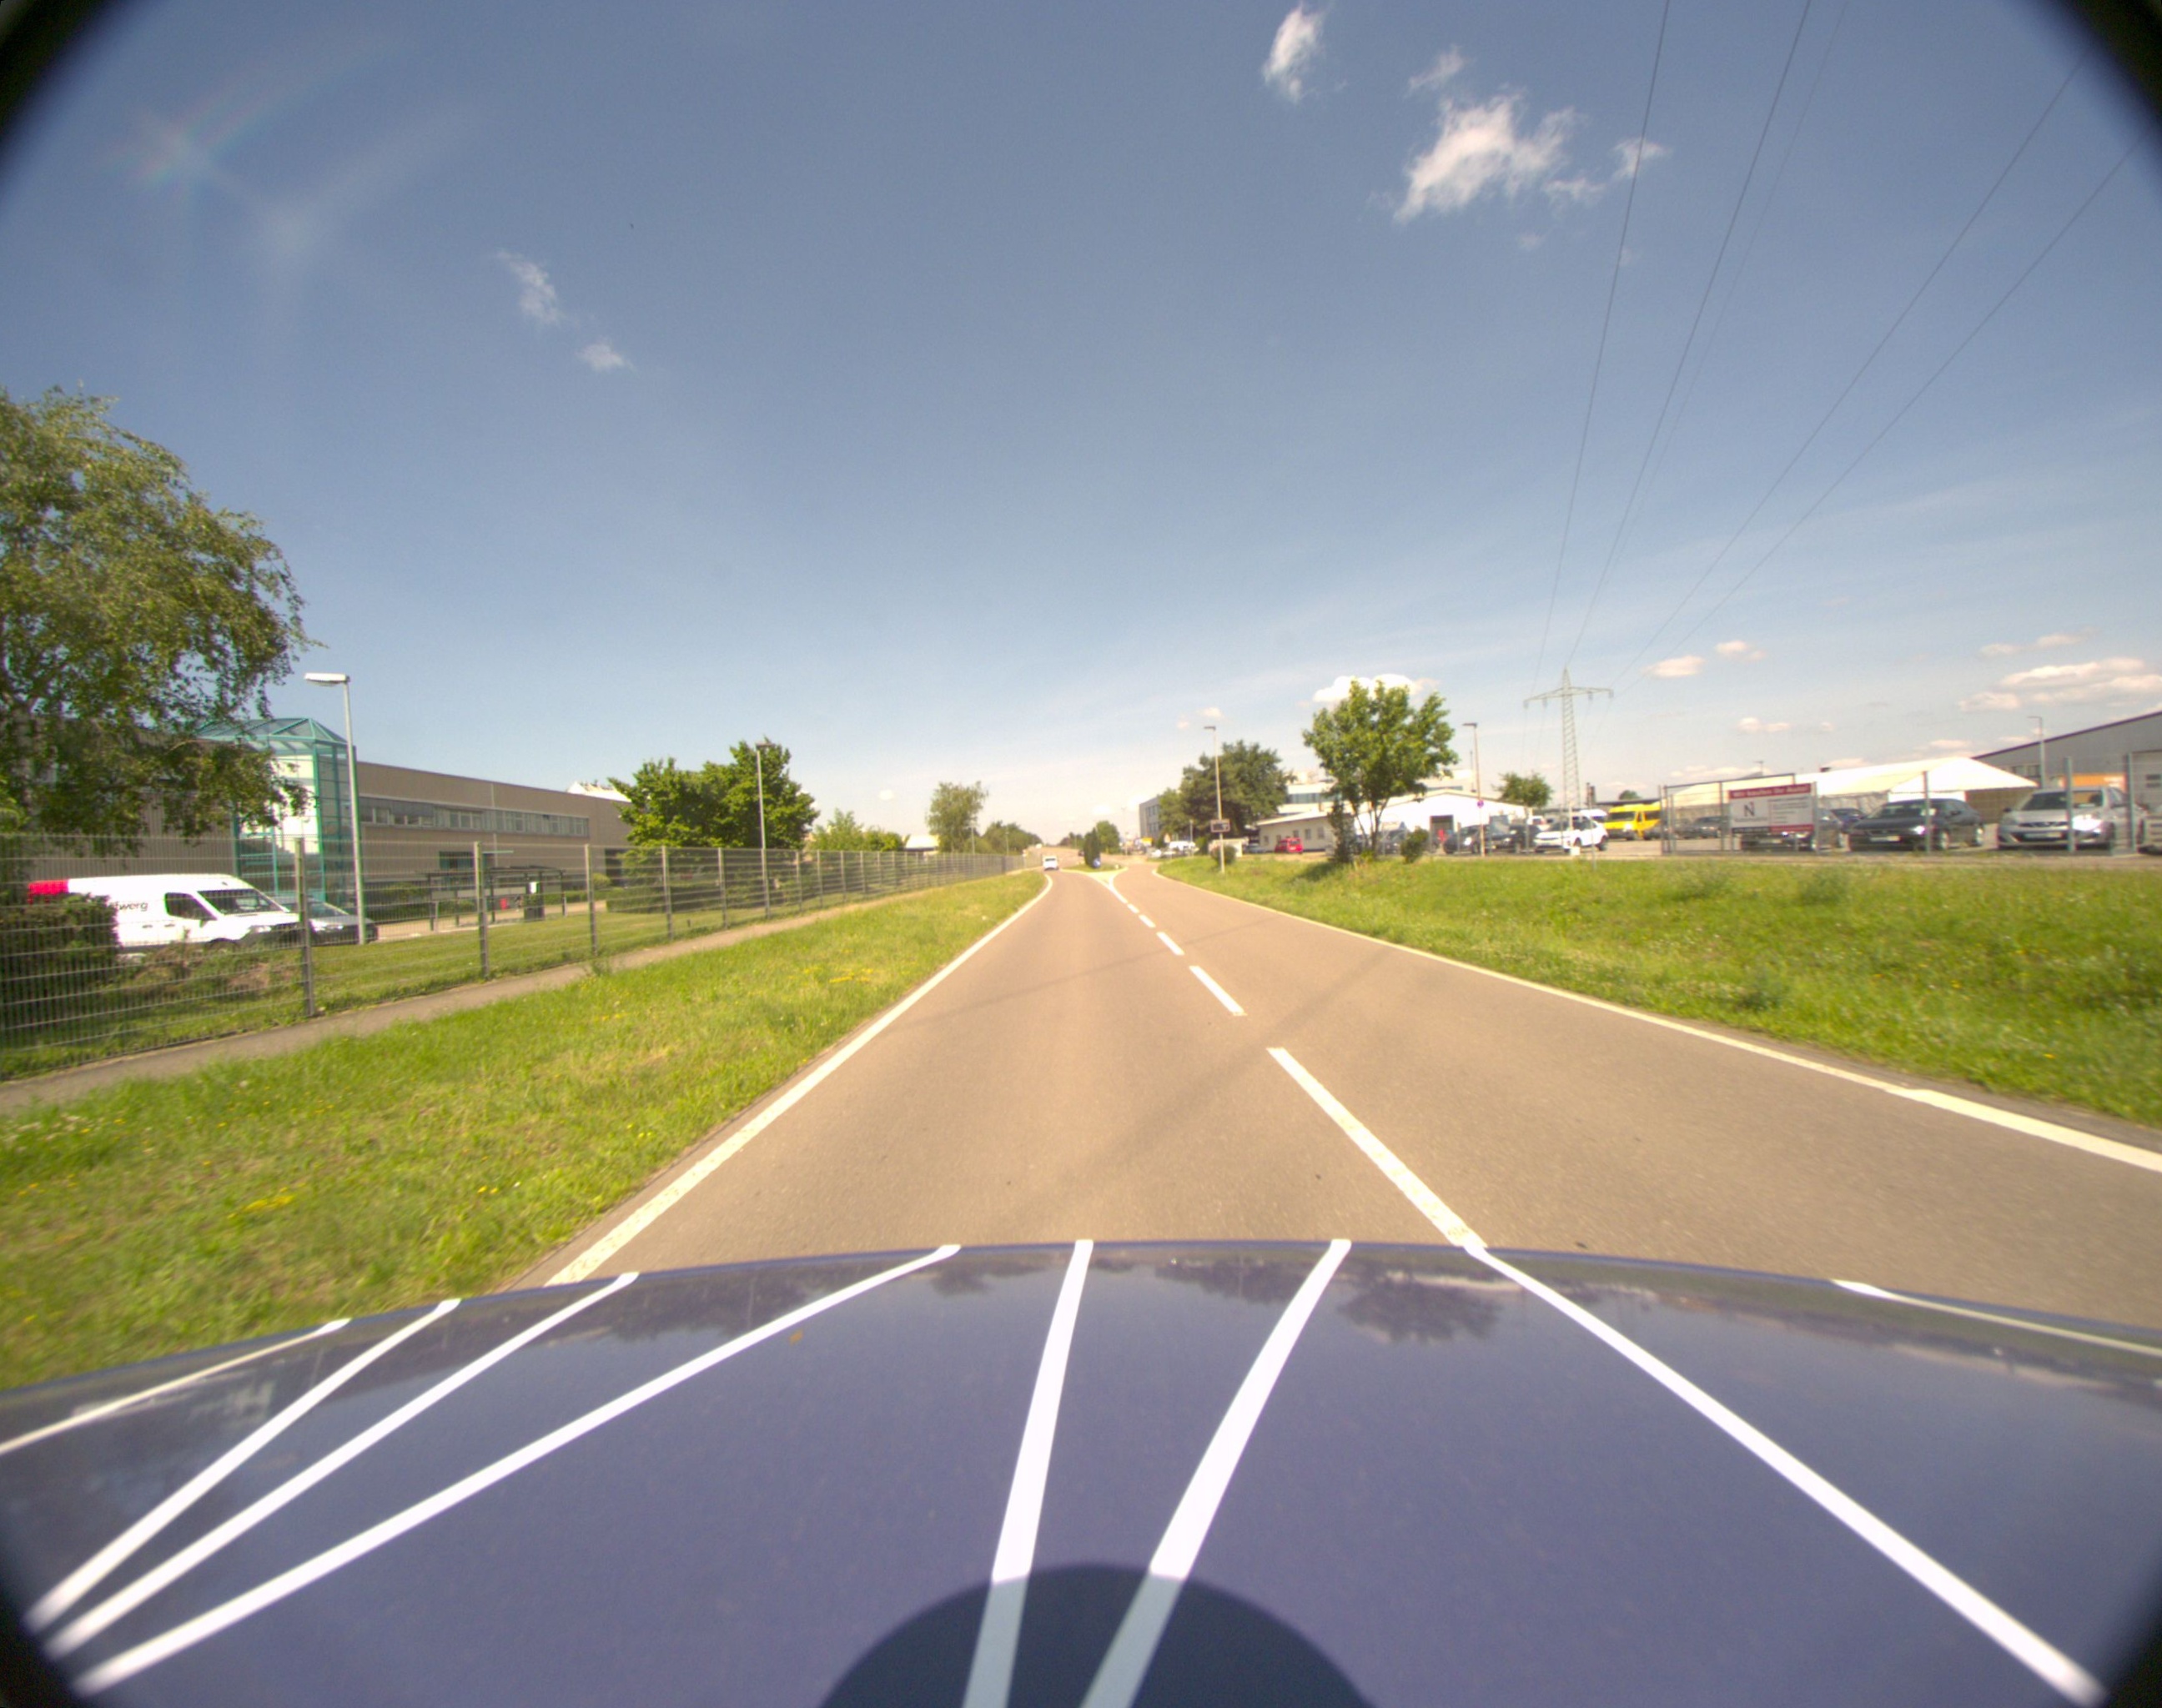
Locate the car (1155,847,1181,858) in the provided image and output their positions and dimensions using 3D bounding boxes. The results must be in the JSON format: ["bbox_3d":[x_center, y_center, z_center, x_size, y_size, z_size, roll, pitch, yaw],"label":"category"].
[{"bbox_3d":[14.138,-0.211,123.234,3.996,1.510,2.000,-3,1,2],"label":"car"}]

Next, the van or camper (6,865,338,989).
[{"bbox_3d":[-24.361,1.865,20.611,5.788,2.504,1.999,-6,1,-7],"label":"van or camper"}]

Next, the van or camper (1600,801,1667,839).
[{"bbox_3d":[38.488,-2.358,52.900,5.348,2.361,1.890,-4,1,-33],"label":"van or camper"}]

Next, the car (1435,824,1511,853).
[{"bbox_3d":[21.534,-0.857,41.722,4.006,1.302,1.938,-4,0,-33],"label":"car"}]

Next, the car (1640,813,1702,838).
[{"bbox_3d":[38.583,-1.872,49.695,4.006,1.302,1.938,-4,0,-33],"label":"car"}]

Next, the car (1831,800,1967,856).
[{"bbox_3d":[23.152,-0.744,21.472,4.006,1.302,1.938,-4,1,-33],"label":"car"}]

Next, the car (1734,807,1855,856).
[{"bbox_3d":[23.234,-0.745,24.730,4.006,1.302,1.938,-4,0,-33],"label":"car"}]

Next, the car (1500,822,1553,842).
[{"bbox_3d":[37.890,-1.861,64.731,1.925,1.425,3.998,-4,0,-4],"label":"car"}]

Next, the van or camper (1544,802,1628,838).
[{"bbox_3d":[41.873,-2.718,63.295,1.999,2.584,6.767,-4,0,-4],"label":"van or camper"}]

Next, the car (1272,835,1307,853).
[{"bbox_3d":[21.989,-1.055,80.312,1.999,1.734,4.226,-3,1,-6],"label":"car"}]

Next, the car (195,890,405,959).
[{"bbox_3d":[-23.658,2.091,23.174,3.999,1.630,1.999,-4,0,-7],"label":"car"}]

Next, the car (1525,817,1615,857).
[{"bbox_3d":[22.426,-0.778,34.820,4.006,1.531,1.938,-4,0,-33],"label":"car"}]

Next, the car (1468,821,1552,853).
[{"bbox_3d":[21.485,-0.864,38.040,4.005,1.302,1.938,-4,0,-31],"label":"car"}]

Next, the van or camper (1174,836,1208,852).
[{"bbox_3d":[19.426,-1.703,134.260,5.576,2.483,2.081,-3,1,23],"label":"van or camper"}]

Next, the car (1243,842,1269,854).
[{"bbox_3d":[21.547,-0.732,93.656,1.999,1.400,4.515,-4,0,-2],"label":"car"}]

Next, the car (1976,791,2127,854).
[{"bbox_3d":[24.027,-0.778,18.785,4.006,1.302,1.938,-4,0,-33],"label":"car"}]

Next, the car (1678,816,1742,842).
[{"bbox_3d":[39.085,-1.553,47.177,4.006,1.302,1.938,-4,0,-33],"label":"car"}]

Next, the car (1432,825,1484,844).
[{"bbox_3d":[32.234,-1.654,65.087,1.926,1.425,3.997,-4,0,-10],"label":"car"}]

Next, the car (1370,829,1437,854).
[{"bbox_3d":[20.380,-0.767,47.941,4.006,1.302,1.938,-4,1,-33],"label":"car"}]

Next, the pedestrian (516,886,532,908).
[{"bbox_3d":[-38.069,2.931,51.918,0.515,1.383,0.730,-4,1,-4],"label":"pedestrian"}]

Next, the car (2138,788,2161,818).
[{"bbox_3d":[53.649,-2.558,35.821,1.882,1.433,3.997,-4,0,-10],"label":"car"}]

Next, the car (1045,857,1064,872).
[{"bbox_3d":[-3.587,1.387,102.035,1.998,1.904,4.001,-3,1,5],"label":"car"}]

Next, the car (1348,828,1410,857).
[{"bbox_3d":[19.987,-0.802,50.937,4.115,1.695,1.719,-4,1,-33],"label":"car"}]
